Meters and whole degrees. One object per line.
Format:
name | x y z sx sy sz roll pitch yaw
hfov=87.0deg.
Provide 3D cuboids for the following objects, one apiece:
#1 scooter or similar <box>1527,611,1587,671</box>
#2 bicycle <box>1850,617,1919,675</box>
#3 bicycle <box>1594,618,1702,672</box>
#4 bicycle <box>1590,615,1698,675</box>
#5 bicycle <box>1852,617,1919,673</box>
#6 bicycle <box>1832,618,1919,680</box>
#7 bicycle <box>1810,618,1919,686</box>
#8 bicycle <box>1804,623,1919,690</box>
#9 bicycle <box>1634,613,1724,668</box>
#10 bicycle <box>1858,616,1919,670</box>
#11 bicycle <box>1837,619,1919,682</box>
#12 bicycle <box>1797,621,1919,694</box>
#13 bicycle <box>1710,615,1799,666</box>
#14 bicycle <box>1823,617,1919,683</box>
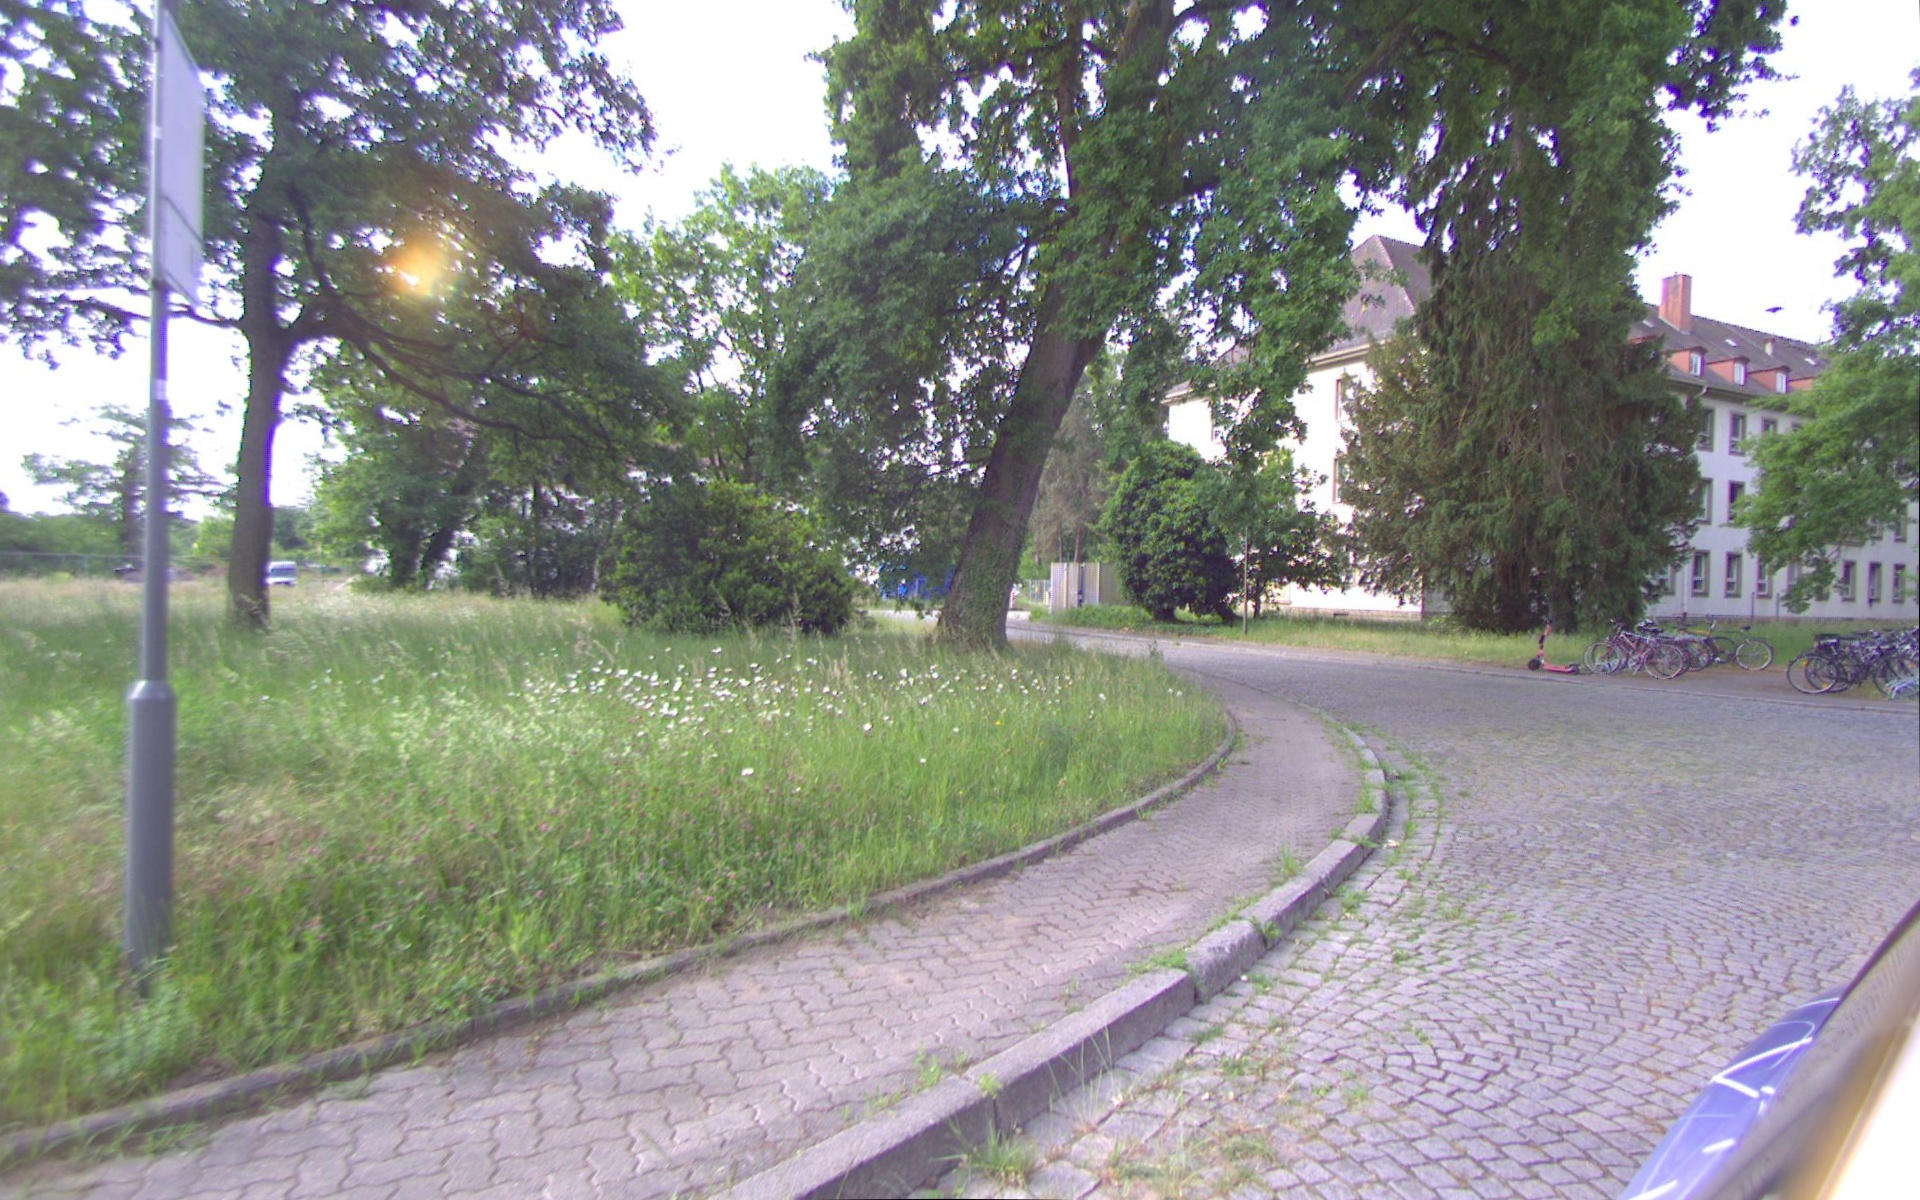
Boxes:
scooter or similar | 12.810 0.863 21.723 0.377 1.209 1.066 1 0 -23
bicycle | 19.710 0.962 21.034 1.802 1.101 0.545 2 3 43
bicycle | 14.444 0.921 21.272 1.846 1.002 0.450 2 1 38
bicycle | 14.076 0.901 20.860 1.803 1.101 0.473 2 3 38
bicycle | 20.224 0.960 21.607 1.745 1.101 0.545 2 3 43
bicycle | 18.306 0.962 19.794 1.859 1.101 0.512 2 3 43
bicycle | 16.696 0.939 18.293 2.011 1.101 0.472 2 3 43
bicycle | 15.918 0.976 17.492 2.011 1.022 0.472 2 3 43
bicycle | 15.799 0.880 22.282 1.555 1.102 0.555 2 1 34
bicycle | 20.834 0.958 22.094 1.819 1.101 0.545 2 3 43
bicycle | 17.821 0.967 19.175 1.783 1.101 0.472 2 3 43
bicycle | 15.544 0.970 17.185 2.011 1.101 0.472 2 3 43
bicycle | 18.069 0.899 23.046 1.559 1.047 0.469 2 1 41
bicycle | 17.227 0.927 18.629 2.011 1.101 0.472 2 3 43
